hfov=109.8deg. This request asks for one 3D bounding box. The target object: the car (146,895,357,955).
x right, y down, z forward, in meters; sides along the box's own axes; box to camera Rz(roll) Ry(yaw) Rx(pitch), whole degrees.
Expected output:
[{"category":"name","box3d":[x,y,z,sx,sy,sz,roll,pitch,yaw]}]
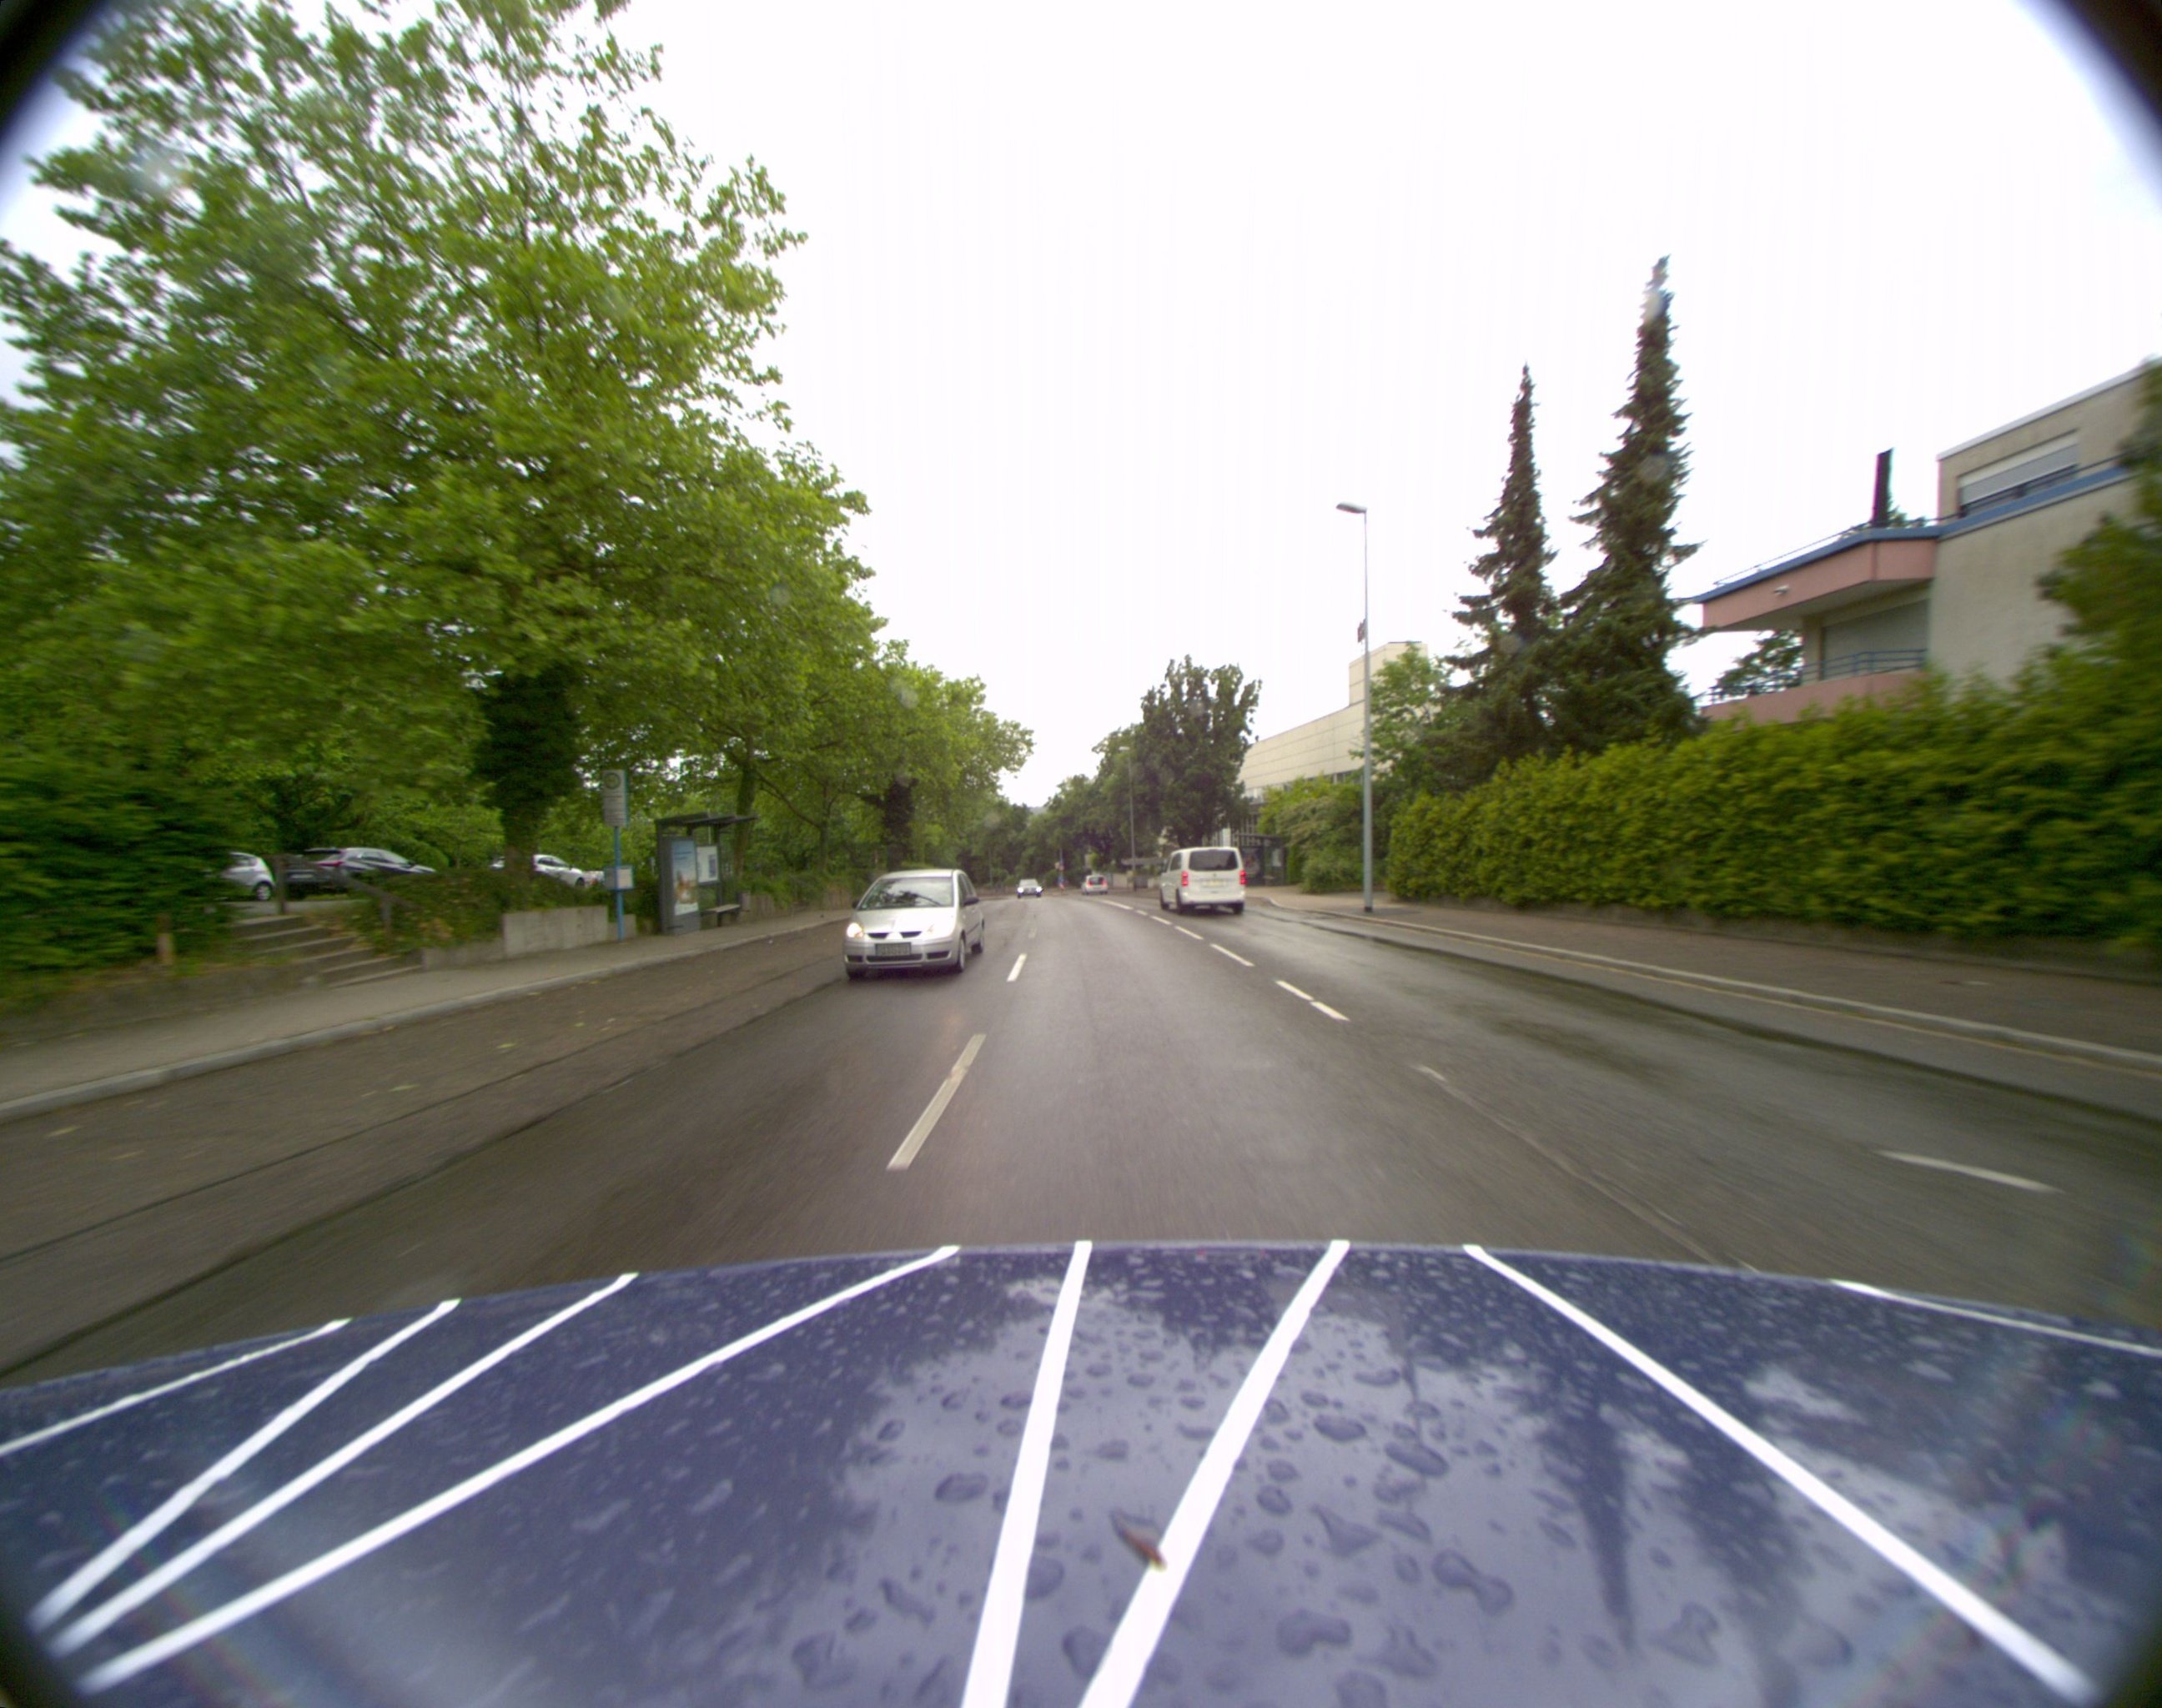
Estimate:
[{"category":"car","box3d":[-24.542,2.042,22.762,1.900,1.444,4.171,-4,-2,-5]}]

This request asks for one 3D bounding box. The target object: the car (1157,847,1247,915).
[{"category":"car","box3d":[3.600,0.766,23.592,1.868,1.905,5.028,0,0,-2]}]

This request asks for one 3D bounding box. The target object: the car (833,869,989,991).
[{"category":"car","box3d":[-2.551,1.070,12.304,1.640,1.496,3.999,-3,0,-1]}]

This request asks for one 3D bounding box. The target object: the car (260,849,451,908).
[{"category":"car","box3d":[-21.455,0.749,22.754,1.900,1.444,4.171,-4,-2,-5]}]

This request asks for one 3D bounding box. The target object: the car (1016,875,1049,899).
[{"category":"car","box3d":[-3.751,2.546,59.546,2.035,1.690,4.002,-4,-2,2]}]

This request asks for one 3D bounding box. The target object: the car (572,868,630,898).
[{"category":"car","box3d":[-35.109,2.157,55.684,1.707,2.001,4.354,-4,-2,-6]}]

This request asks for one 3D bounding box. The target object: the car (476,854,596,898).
[{"category":"car","box3d":[-20.813,0.884,29.229,1.900,1.444,4.170,-4,-2,-7]}]

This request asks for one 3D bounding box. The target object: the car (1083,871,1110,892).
[{"category":"car","box3d":[1.161,2.090,58.050,1.690,1.445,3.397,-2,-1,-4]}]
